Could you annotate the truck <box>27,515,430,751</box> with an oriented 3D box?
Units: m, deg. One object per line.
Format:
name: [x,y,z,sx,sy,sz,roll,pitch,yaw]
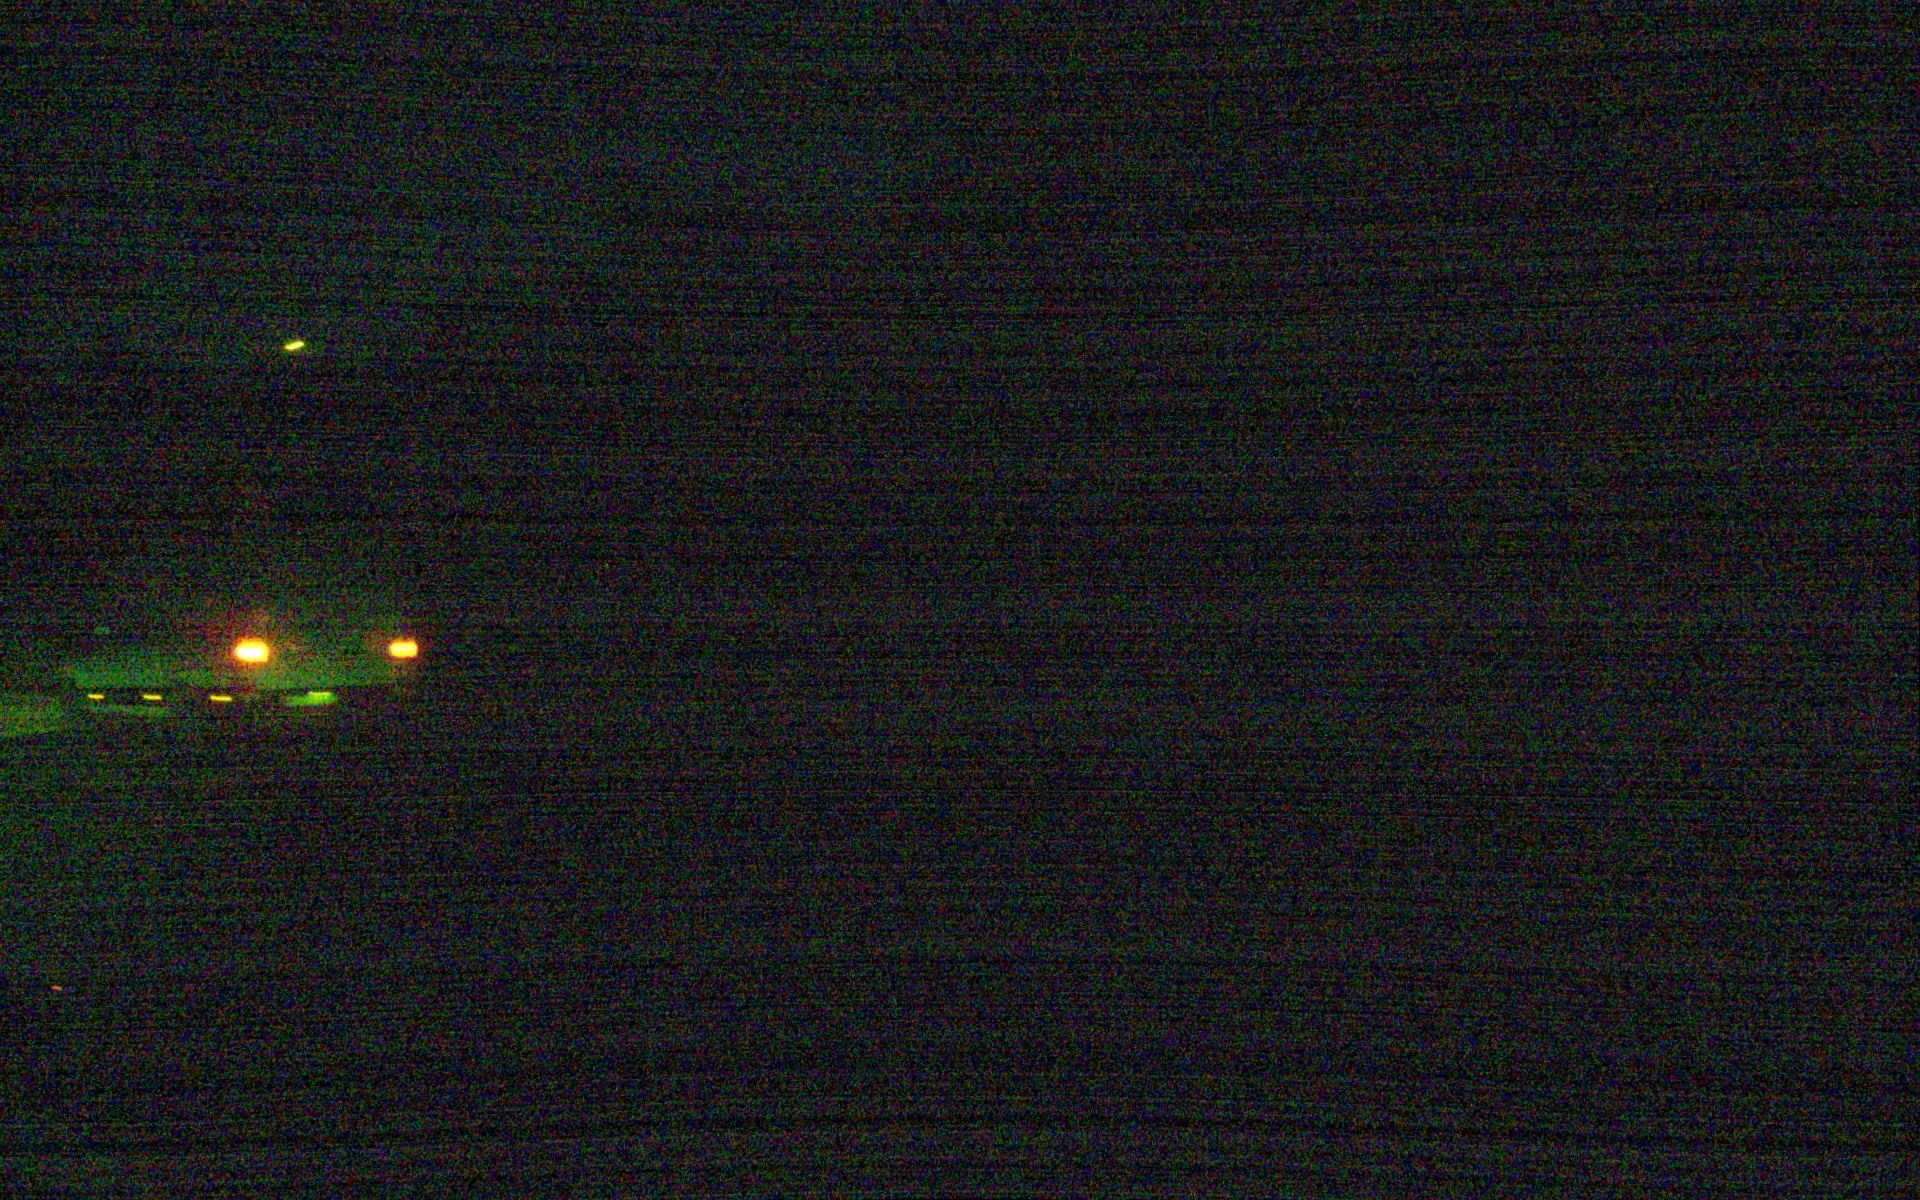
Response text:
truck: [-10.682,0.533,14.361,7.203,2.724,2.074,-2,-3,31]
